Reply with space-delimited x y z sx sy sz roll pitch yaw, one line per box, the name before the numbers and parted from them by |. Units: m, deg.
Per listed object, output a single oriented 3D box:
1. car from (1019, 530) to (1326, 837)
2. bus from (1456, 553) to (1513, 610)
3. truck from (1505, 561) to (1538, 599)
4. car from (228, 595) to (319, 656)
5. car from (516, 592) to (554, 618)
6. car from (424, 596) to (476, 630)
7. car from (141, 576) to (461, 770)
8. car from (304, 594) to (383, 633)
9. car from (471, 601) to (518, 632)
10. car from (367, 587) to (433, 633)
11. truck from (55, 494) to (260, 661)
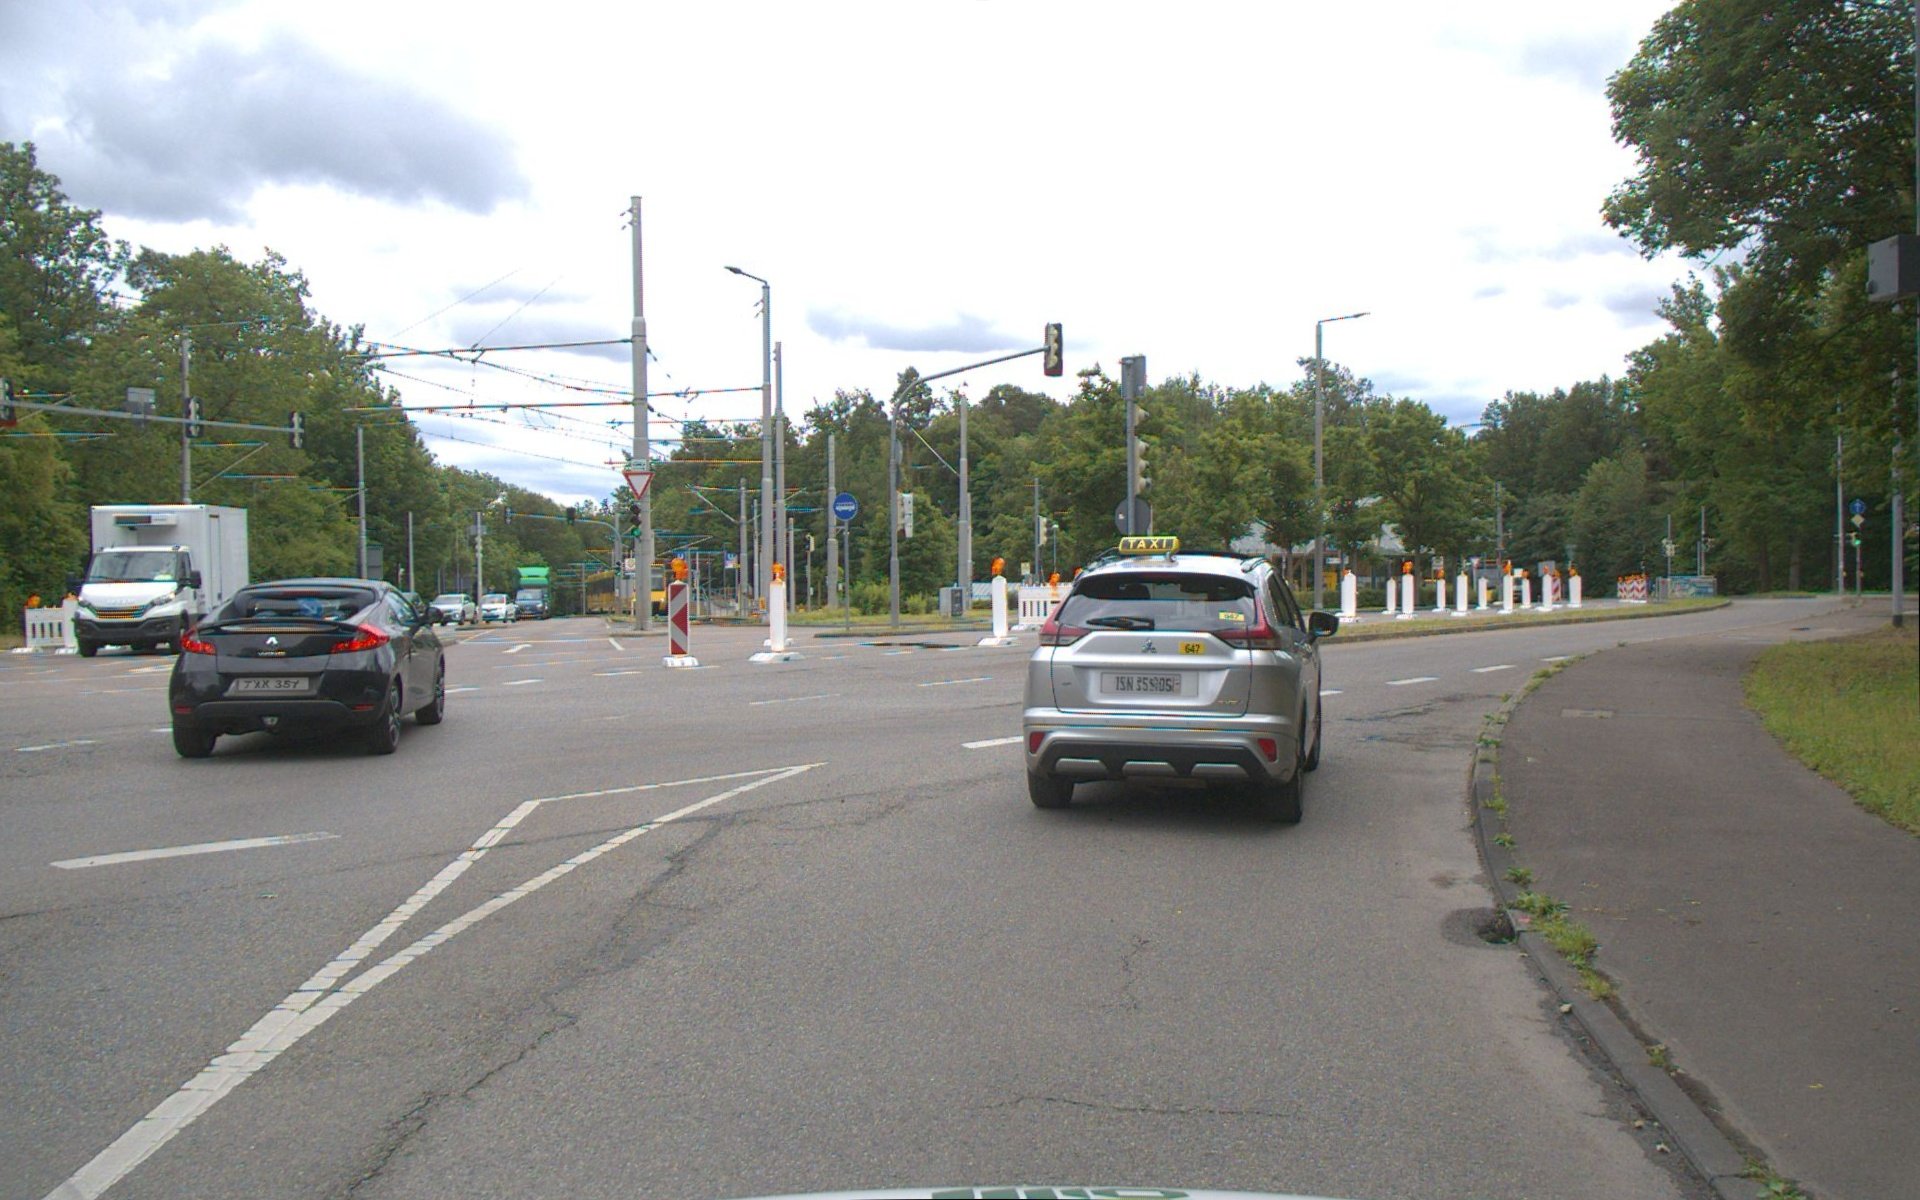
car | 1.644 0.477 11.617 1.736 1.779 3.783 0 0 13
bus | 36.293 -1.312 114.784 2.761 3.666 12.815 -1 1 13
truck | 52.123 -1.830 153.626 2.431 3.344 8.525 -1 0 16
car | -21.362 0.757 51.656 1.929 1.780 4.827 -1 0 -15
car | -26.818 0.315 104.368 1.926 1.567 4.300 -1 0 -10
car | -25.481 0.632 82.723 1.926 1.635 4.300 -1 0 -10
car | -5.463 0.543 14.162 1.741 1.385 3.469 -2 0 -9
car | -23.322 0.477 62.734 1.926 1.385 4.679 -1 0 -10
car | -25.309 0.859 90.054 1.926 1.568 4.386 -1 0 -10
car | -24.202 0.412 71.653 1.926 1.877 4.679 -1 0 -10
truck | -17.593 -0.448 36.746 2.406 3.280 7.132 -2 0 -13
